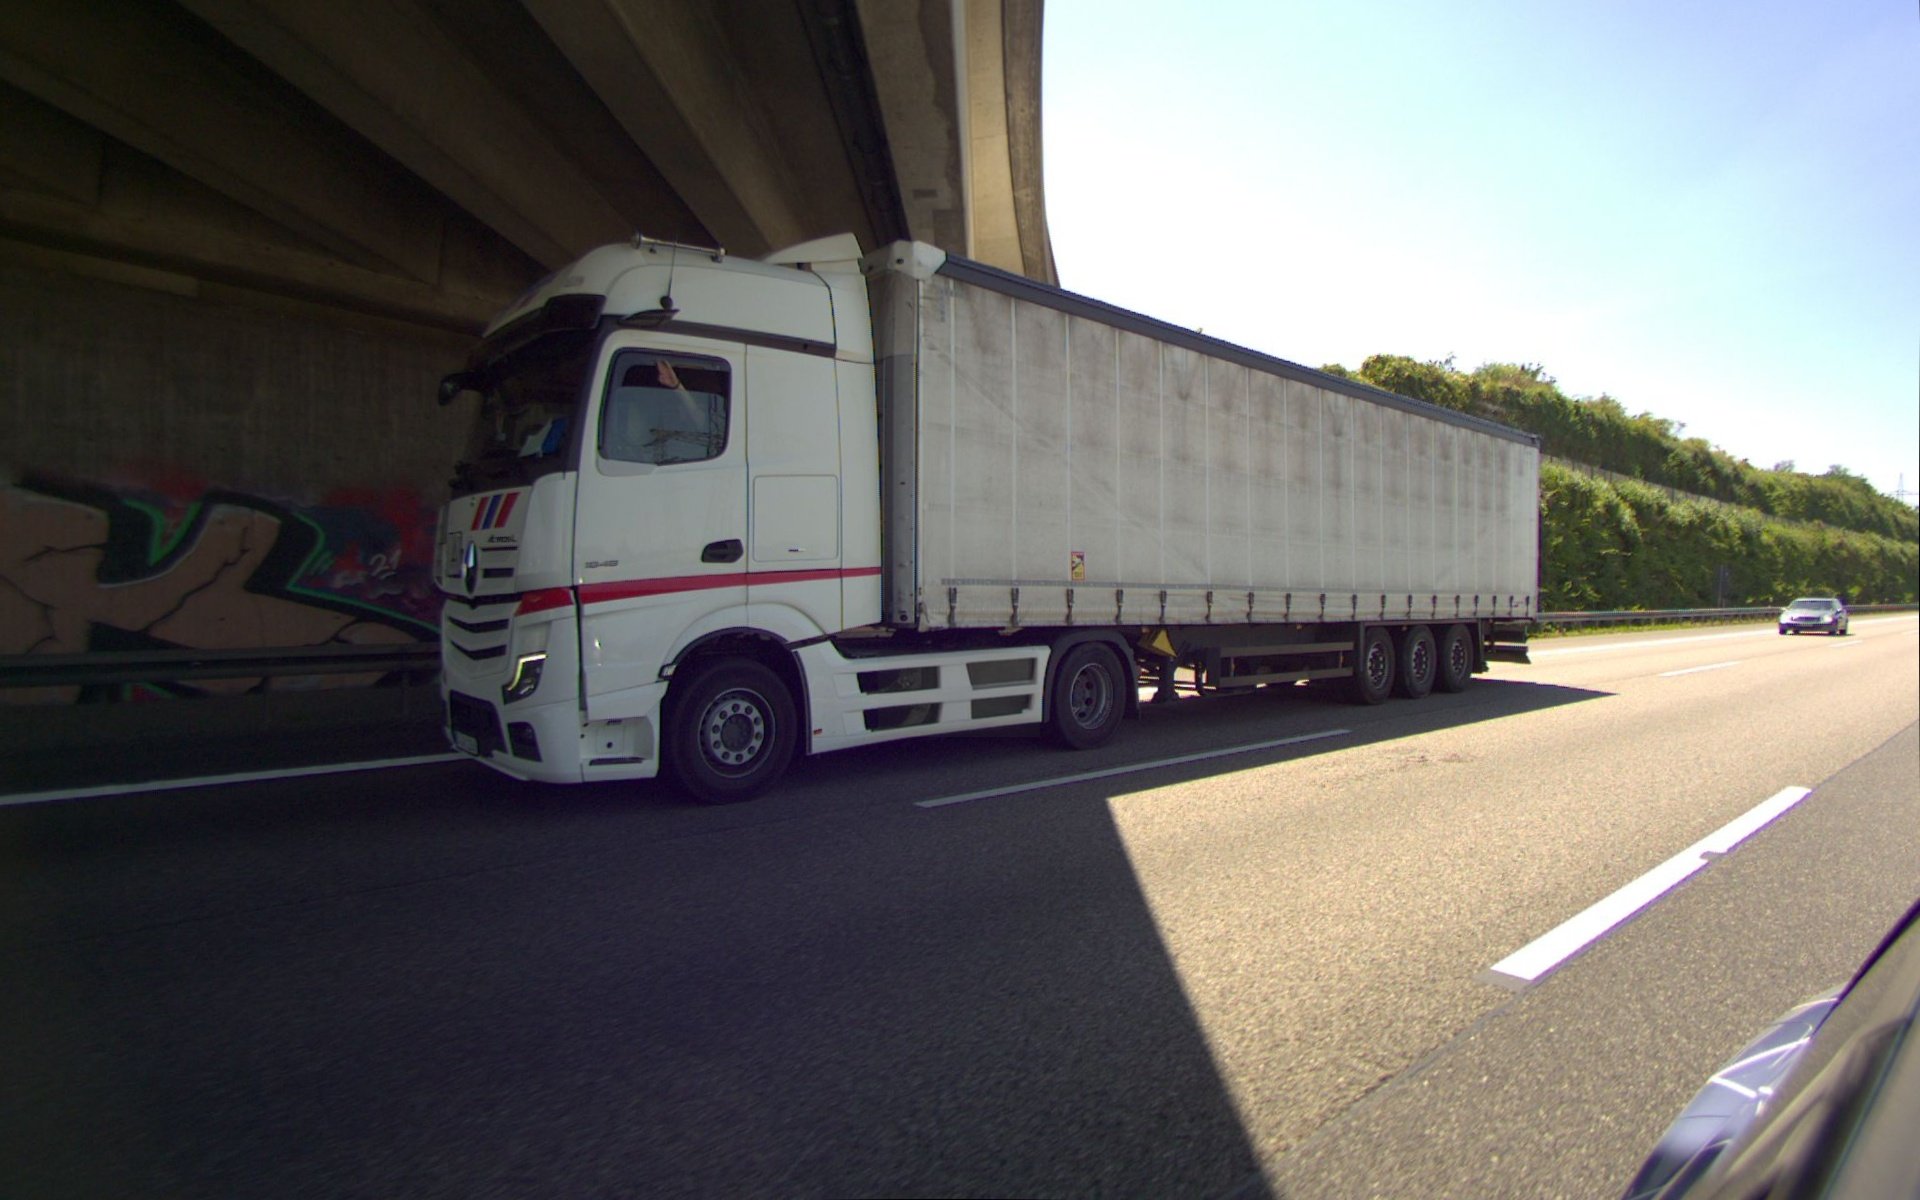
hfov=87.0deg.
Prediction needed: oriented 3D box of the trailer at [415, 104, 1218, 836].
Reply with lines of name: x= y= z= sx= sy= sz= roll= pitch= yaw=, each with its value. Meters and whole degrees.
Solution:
trailer: x=-0.812 y=-0.783 z=8.995 sx=6.671 sy=4.153 sz=2.718 roll=0 pitch=1 yaw=-42

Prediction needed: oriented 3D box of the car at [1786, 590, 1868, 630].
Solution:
car: x=33.648 y=0.358 z=39.223 sx=4.480 sy=1.429 sz=1.838 roll=0 pitch=1 yaw=-42

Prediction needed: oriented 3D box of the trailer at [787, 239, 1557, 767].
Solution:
trailer: x=4.030 y=-0.829 z=13.316 sx=12.961 sy=4.153 sz=2.733 roll=0 pitch=1 yaw=-42
